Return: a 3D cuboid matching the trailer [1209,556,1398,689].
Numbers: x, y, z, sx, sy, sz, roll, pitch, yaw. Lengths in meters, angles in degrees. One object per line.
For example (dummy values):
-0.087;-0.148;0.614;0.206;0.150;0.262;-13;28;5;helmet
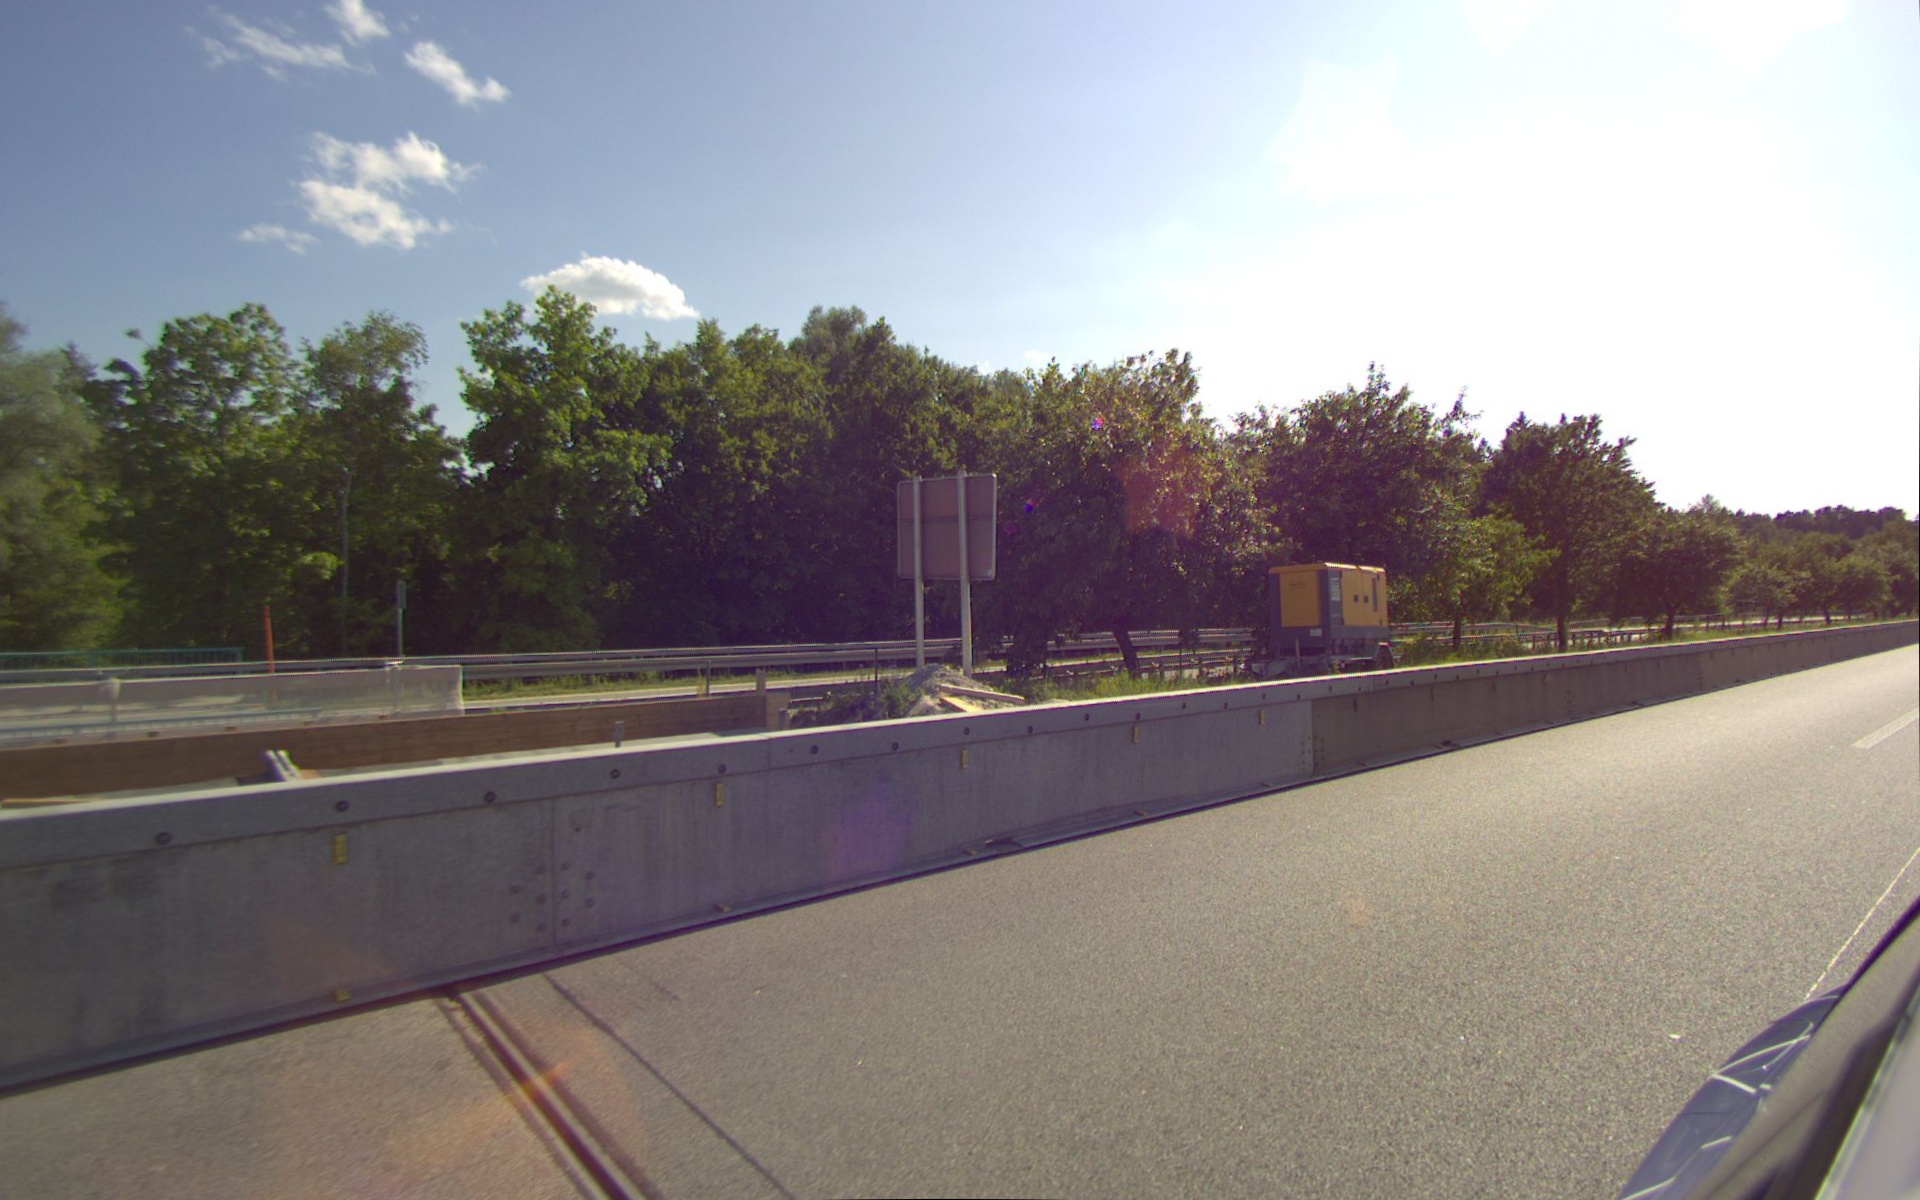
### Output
5.571;0.307;16.161;3.932;1.897;1.126;0;1;-43;trailer
